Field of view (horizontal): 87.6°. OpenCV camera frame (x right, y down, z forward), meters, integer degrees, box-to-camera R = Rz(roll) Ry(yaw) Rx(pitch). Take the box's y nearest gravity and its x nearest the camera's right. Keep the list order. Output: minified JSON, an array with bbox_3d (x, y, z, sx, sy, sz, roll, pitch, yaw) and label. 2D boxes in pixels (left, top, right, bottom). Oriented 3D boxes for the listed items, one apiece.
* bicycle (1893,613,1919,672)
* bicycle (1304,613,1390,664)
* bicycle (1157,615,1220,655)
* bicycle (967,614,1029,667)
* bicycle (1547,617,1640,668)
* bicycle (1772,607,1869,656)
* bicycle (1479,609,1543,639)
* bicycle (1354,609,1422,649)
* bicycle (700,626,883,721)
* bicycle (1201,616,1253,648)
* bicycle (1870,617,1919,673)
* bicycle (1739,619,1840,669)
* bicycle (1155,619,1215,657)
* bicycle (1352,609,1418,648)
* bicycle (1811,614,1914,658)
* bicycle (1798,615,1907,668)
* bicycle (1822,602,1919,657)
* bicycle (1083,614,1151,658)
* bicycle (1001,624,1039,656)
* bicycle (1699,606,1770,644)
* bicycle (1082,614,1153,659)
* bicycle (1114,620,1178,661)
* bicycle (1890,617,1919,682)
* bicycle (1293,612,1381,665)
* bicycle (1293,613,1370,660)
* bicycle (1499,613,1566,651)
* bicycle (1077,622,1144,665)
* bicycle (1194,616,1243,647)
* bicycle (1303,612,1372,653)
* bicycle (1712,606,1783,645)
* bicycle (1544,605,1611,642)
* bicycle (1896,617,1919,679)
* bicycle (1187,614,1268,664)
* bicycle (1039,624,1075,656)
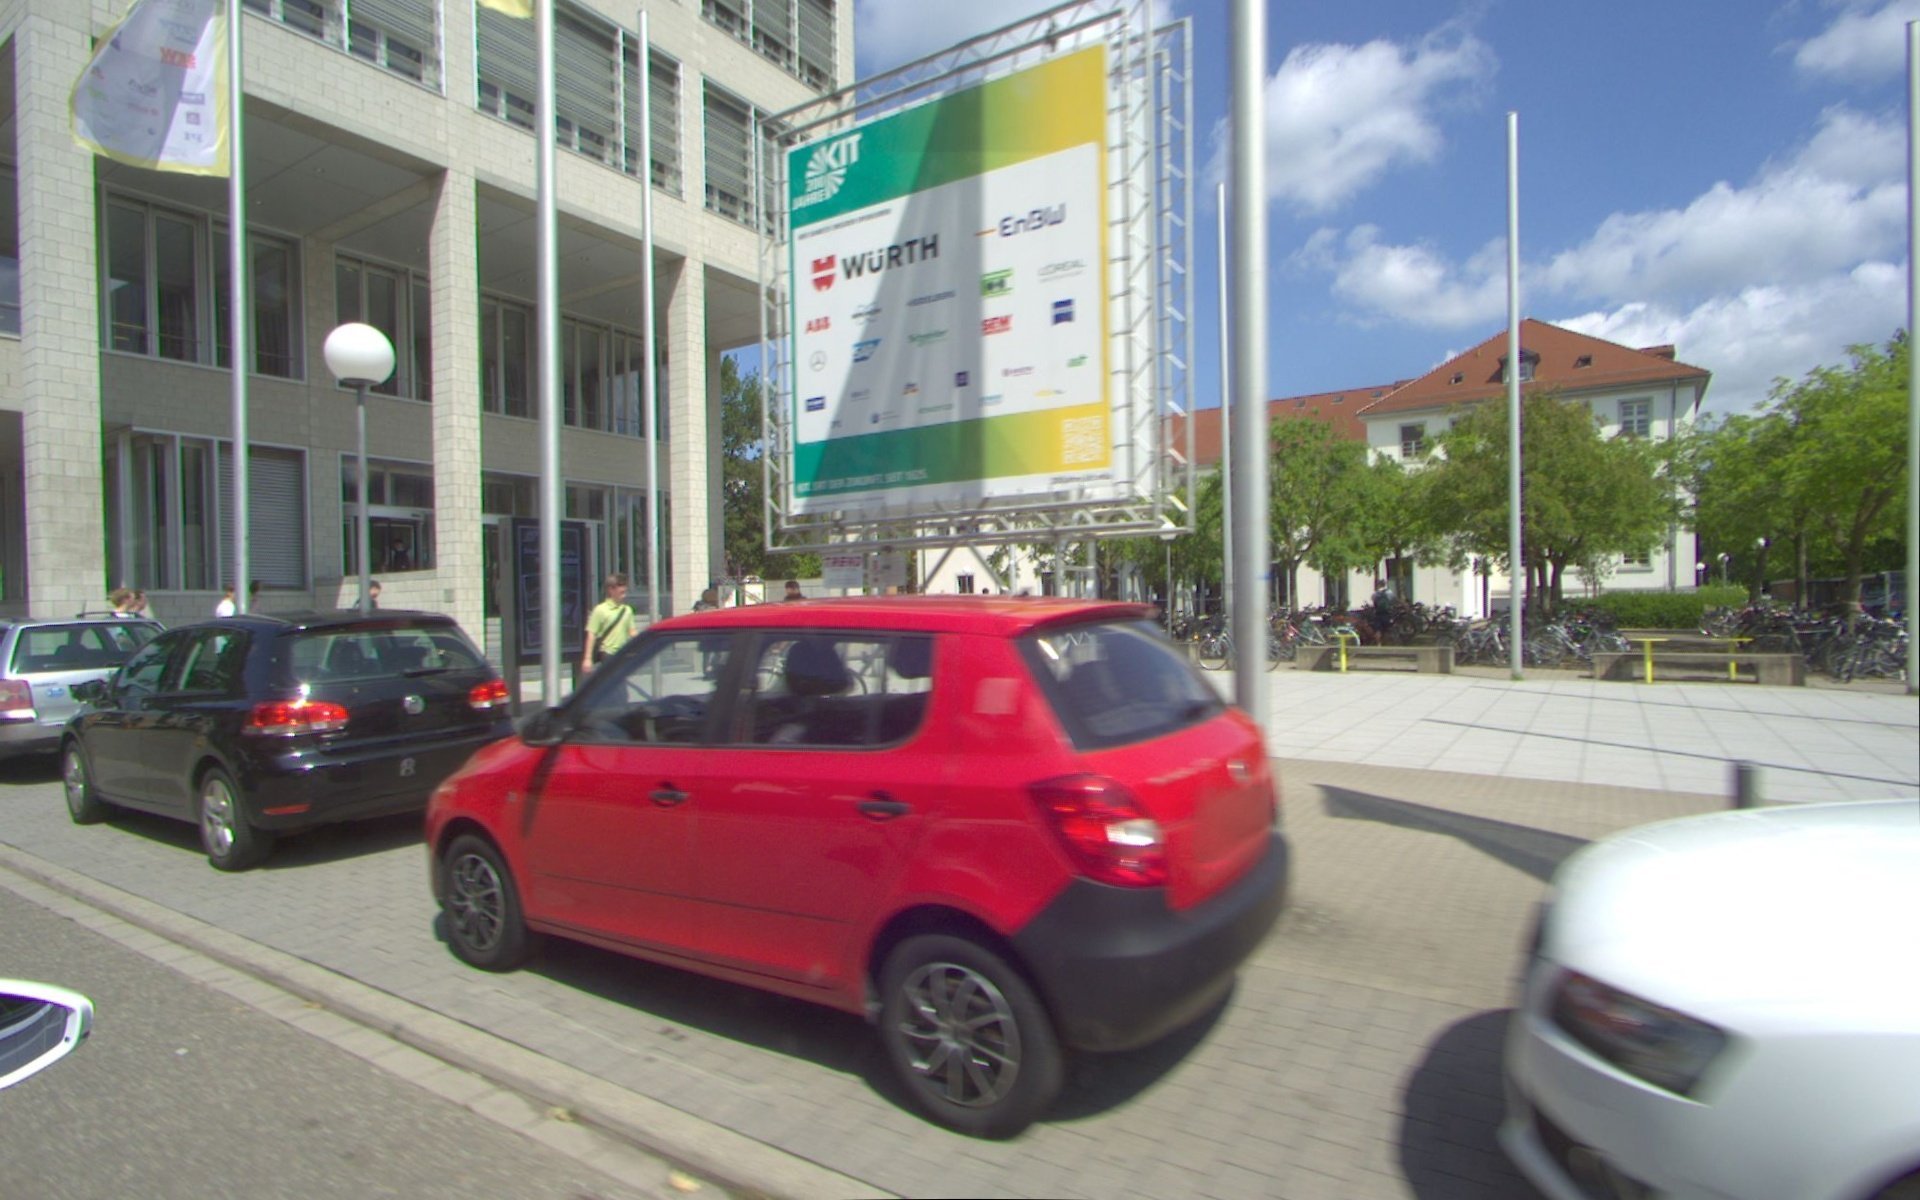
[{"bbox_3d":[19.213,0.783,19.322,1.733,1.113,0.604,-3,-1,3],"label":"bicycle"},{"bbox_3d":[9.139,0.899,23.681,1.733,1.113,0.604,-3,-1,3],"label":"bicycle"},{"bbox_3d":[6.883,1.063,30.236,1.733,1.113,0.604,-3,-1,3],"label":"bicycle"},{"bbox_3d":[0.852,0.903,23.016,0.672,1.153,1.684,0,1,-28],"label":"bicycle"},{"bbox_3d":[14.857,0.998,23.512,1.733,1.113,0.604,-3,-1,3],"label":"bicycle"},{"bbox_3d":[20.942,0.773,24.395,1.733,1.113,0.604,-3,-1,3],"label":"bicycle"},{"bbox_3d":[18.064,0.790,32.846,1.733,0.880,0.604,-3,-1,3],"label":"bicycle"},{"bbox_3d":[12.816,0.863,30.023,1.733,1.113,0.604,-3,-1,3],"label":"bicycle"},{"bbox_3d":[-2.125,0.910,12.584,2.120,1.093,0.900,-2,-1,27],"label":"bicycle"},{"bbox_3d":[9.918,1.199,37.257,1.733,1.113,0.604,-3,-1,3],"label":"bicycle"},{"bbox_3d":[19.467,0.893,20.133,1.733,1.113,0.604,-1,-1,3],"label":"bicycle"},{"bbox_3d":[18.746,0.991,22.656,1.733,1.113,0.604,-1,-1,3],"label":"bicycle"},{"bbox_3d":[7.061,1.190,31.486,1.733,1.113,0.604,-3,-1,3],"label":"bicycle"},{"bbox_3d":[13.100,0.873,30.875,1.733,1.113,0.604,-3,-1,3],"label":"bicycle"},{"bbox_3d":[20.679,0.829,22.966,1.733,0.967,0.604,-1,-1,3],"label":"bicycle"},{"bbox_3d":[19.188,0.886,21.543,1.733,1.113,0.604,0,-1,3],"label":"bicycle"},{"bbox_3d":[19.068,0.611,20.807,1.733,1.113,0.604,-1,0,3],"label":"bicycle"},{"bbox_3d":[4.213,0.966,26.950,1.733,1.113,0.604,-3,-1,3],"label":"bicycle"},{"bbox_3d":[1.661,1.087,27.531,0.511,0.803,1.763,-1,0,21],"label":"bicycle"},{"bbox_3d":[24.680,0.805,31.923,1.733,1.113,0.593,-3,-1,3],"label":"bicycle"},{"bbox_3d":[4.115,0.952,26.232,1.733,1.113,0.604,-3,-1,3],"label":"bicycle"},{"bbox_3d":[5.428,1.186,29.235,1.733,1.113,0.604,-3,-1,3],"label":"bicycle"},{"bbox_3d":[17.529,0.840,17.576,1.733,1.113,0.604,-3,-1,3],"label":"bicycle"},{"bbox_3d":[8.551,0.870,22.766,1.733,1.113,0.604,-3,-1,3],"label":"bicycle"},{"bbox_3d":[9.546,0.931,25.764,1.733,1.113,0.604,-3,-1,3],"label":"bicycle"},{"bbox_3d":[18.225,1.021,31.888,1.733,1.113,0.604,-3,-1,3],"label":"bicycle"},{"bbox_3d":[4.138,1.203,27.687,1.733,1.113,0.604,-3,-1,3],"label":"bicycle"},{"bbox_3d":[10.064,1.239,39.023,1.733,1.113,0.604,-3,-1,3],"label":"bicycle"},{"bbox_3d":[11.045,0.942,29.334,1.733,1.113,0.604,-3,-1,3],"label":"bicycle"},{"bbox_3d":[24.604,0.793,31.308,1.733,1.113,0.516,-3,-1,3],"label":"bicycle"},{"bbox_3d":[20.149,0.761,32.699,1.733,1.113,0.604,-3,-1,3],"label":"bicycle"},{"bbox_3d":[18.224,0.841,18.215,1.733,1.113,0.604,-3,-1,3],"label":"bicycle"},{"bbox_3d":[6.416,0.932,24.061,1.733,1.113,0.604,-3,-1,3],"label":"bicycle"},{"bbox_3d":[2.632,1.068,26.979,0.511,0.803,1.763,-1,0,21],"label":"bicycle"}]
